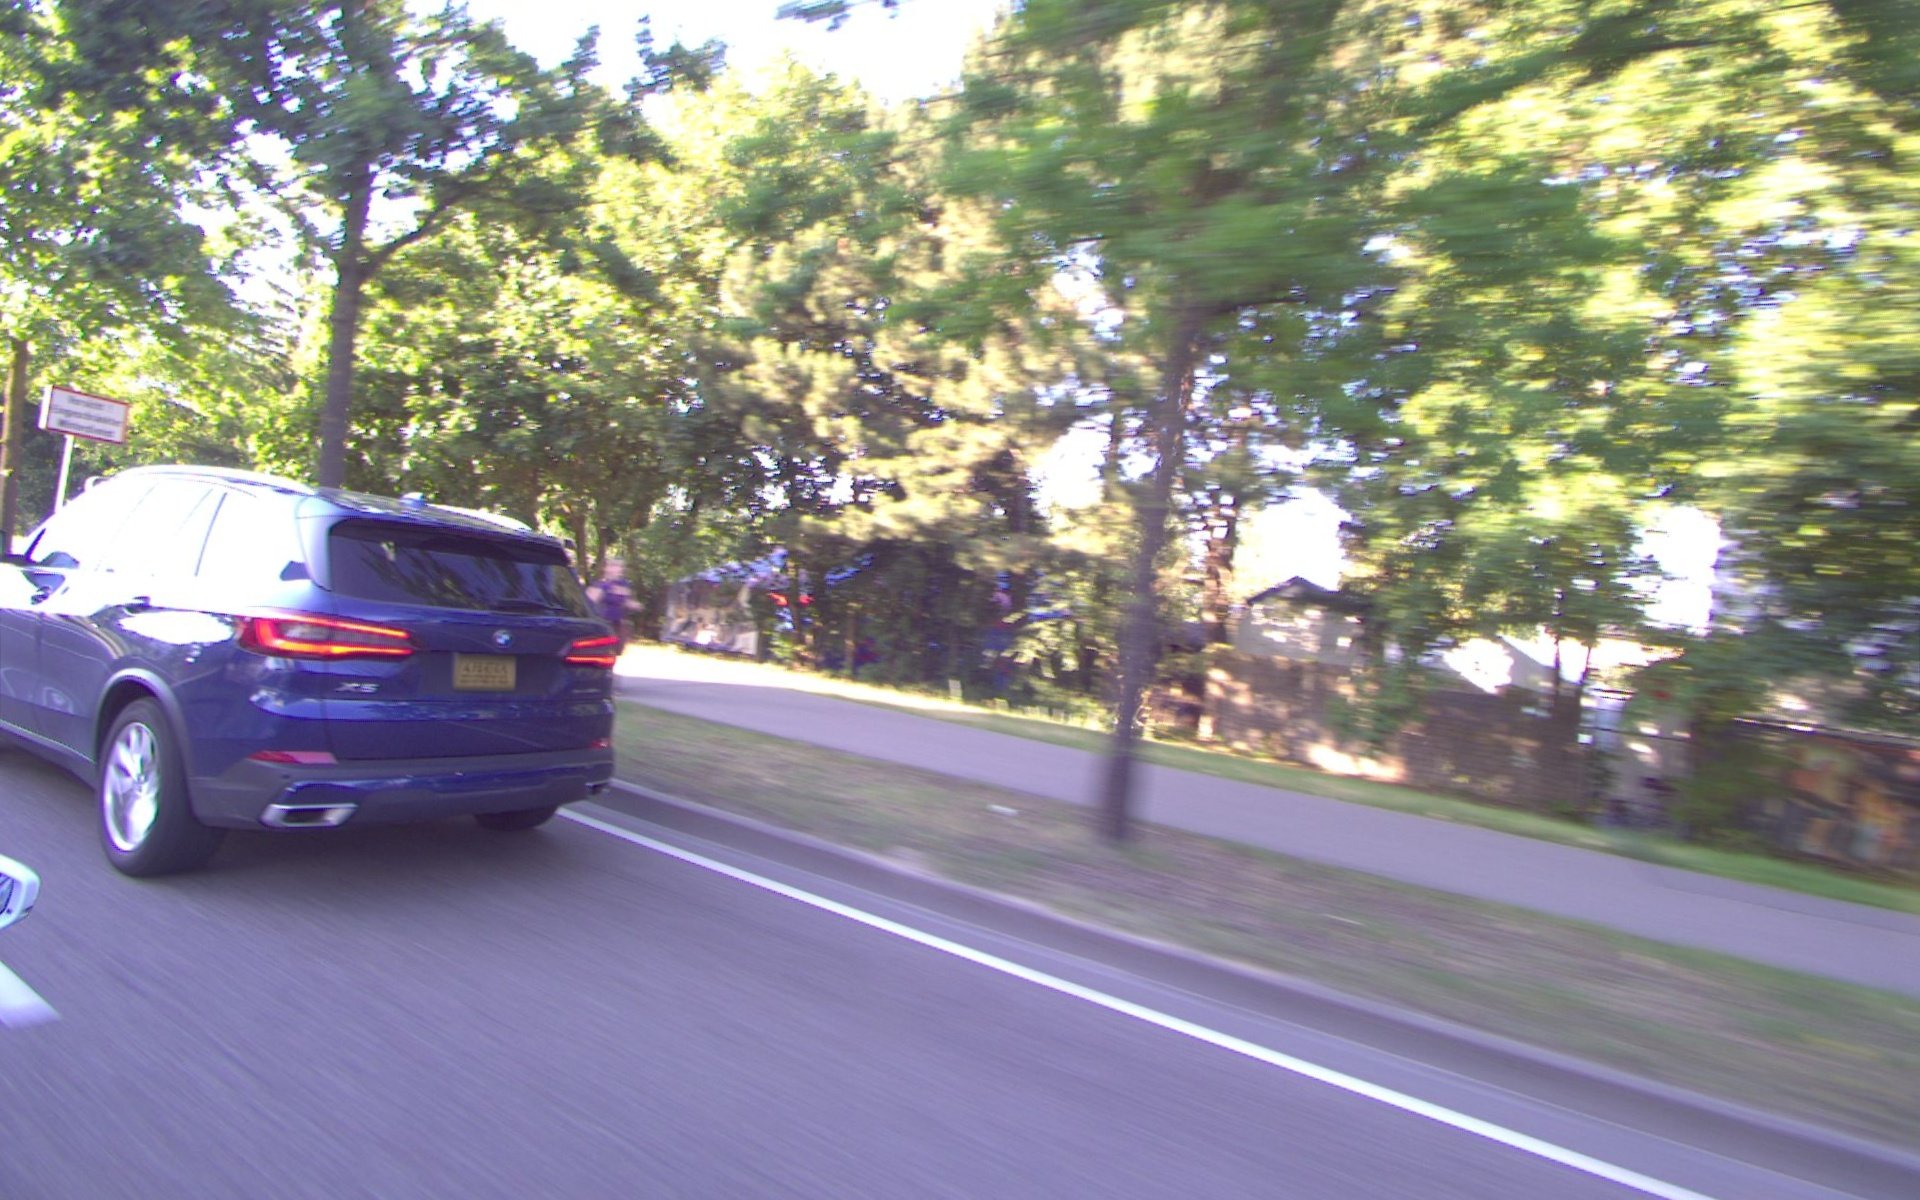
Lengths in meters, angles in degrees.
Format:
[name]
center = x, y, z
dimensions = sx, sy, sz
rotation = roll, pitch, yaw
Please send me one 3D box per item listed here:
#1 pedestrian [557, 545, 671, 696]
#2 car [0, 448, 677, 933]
[pedestrian]
center = -3.967, 0.231, 11.554
dimensions = 0.894, 1.594, 0.672
rotation = 7, 2, 23
[car]
center = -4.045, 0.229, 5.686
dimensions = 4.622, 1.747, 1.958
rotation = 6, -2, 32
